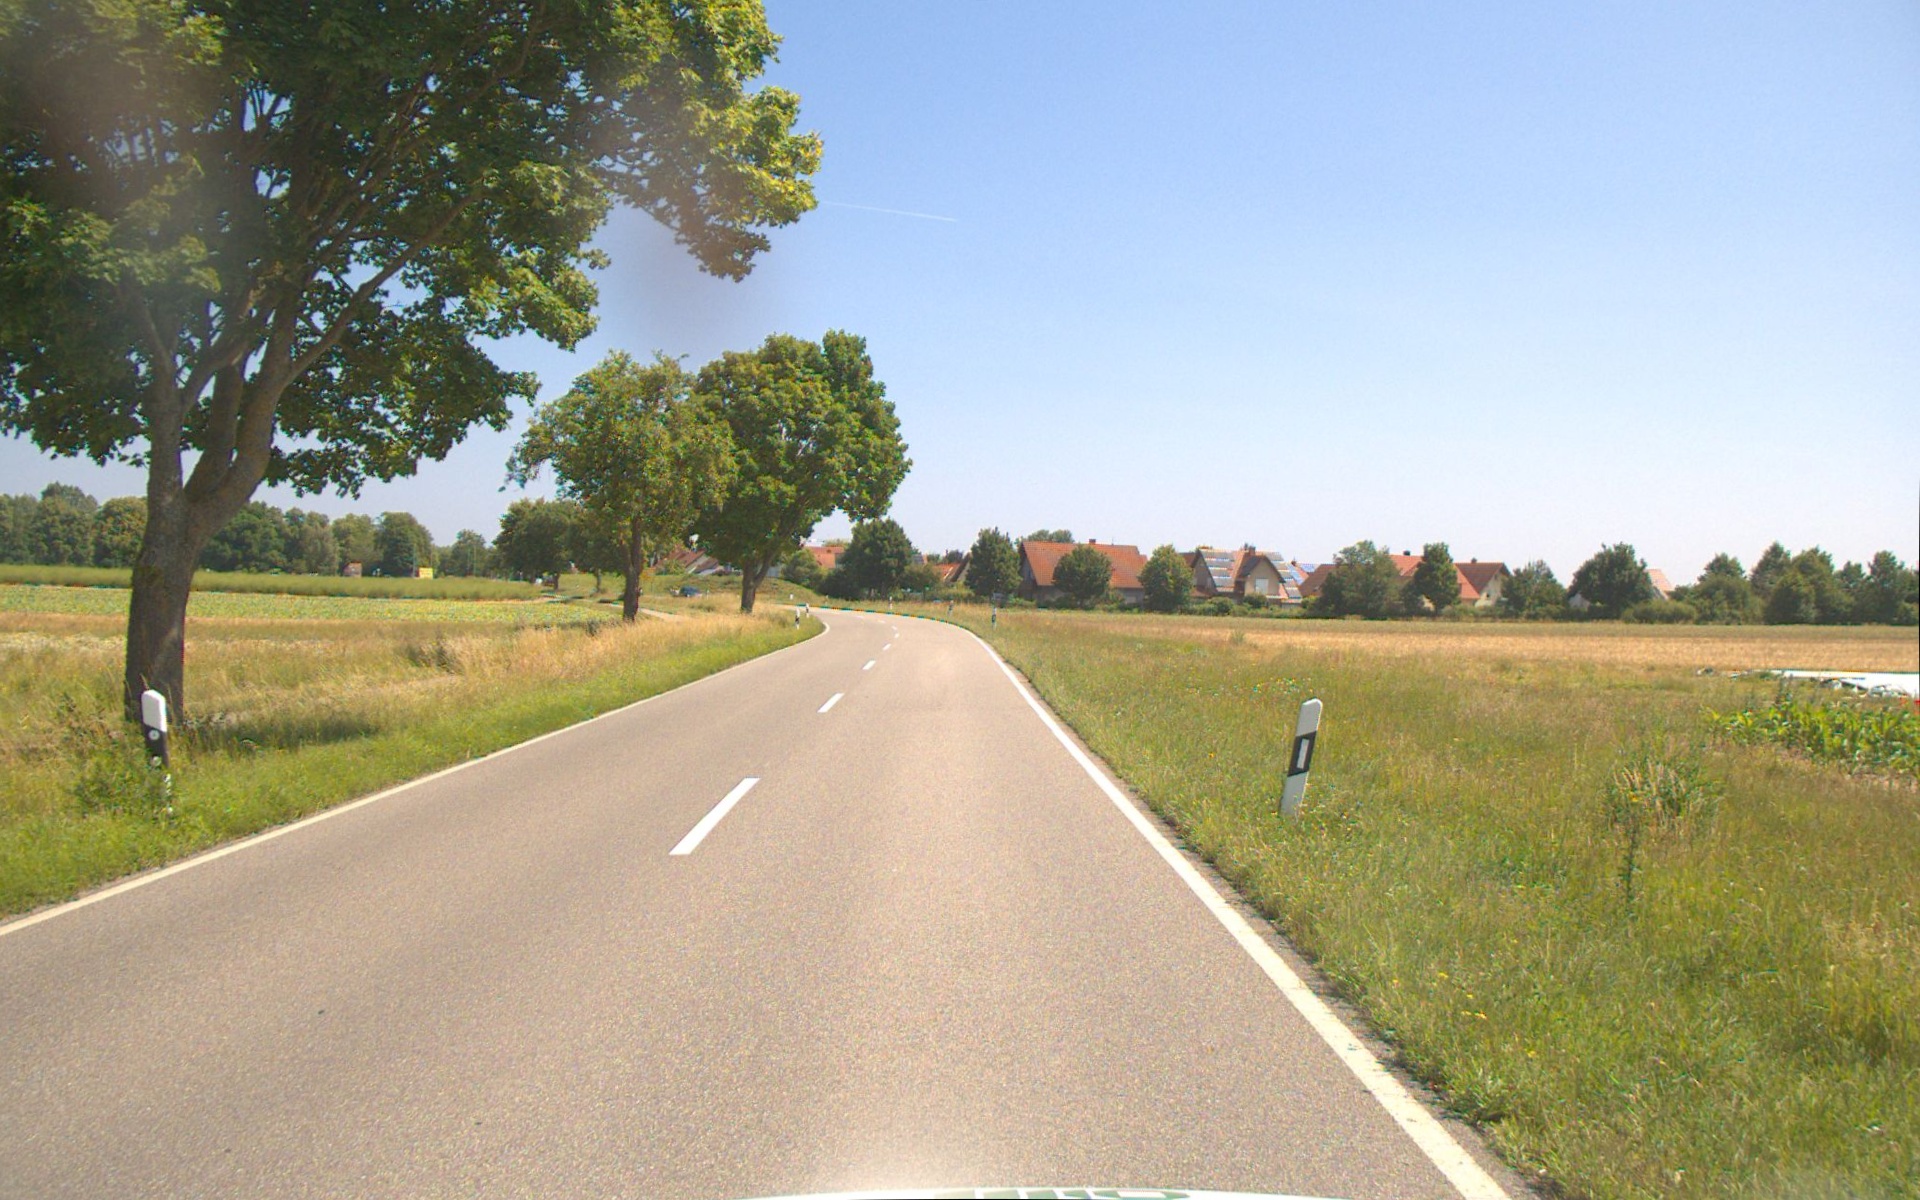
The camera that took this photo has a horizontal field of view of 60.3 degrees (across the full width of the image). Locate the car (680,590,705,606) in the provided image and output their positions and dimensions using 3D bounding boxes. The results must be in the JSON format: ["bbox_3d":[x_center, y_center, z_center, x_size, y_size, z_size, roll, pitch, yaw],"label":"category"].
[{"bbox_3d":[-26.135,-0.192,161.342,1.620,1.454,4.155,-2,1,-20],"label":"car"}]
